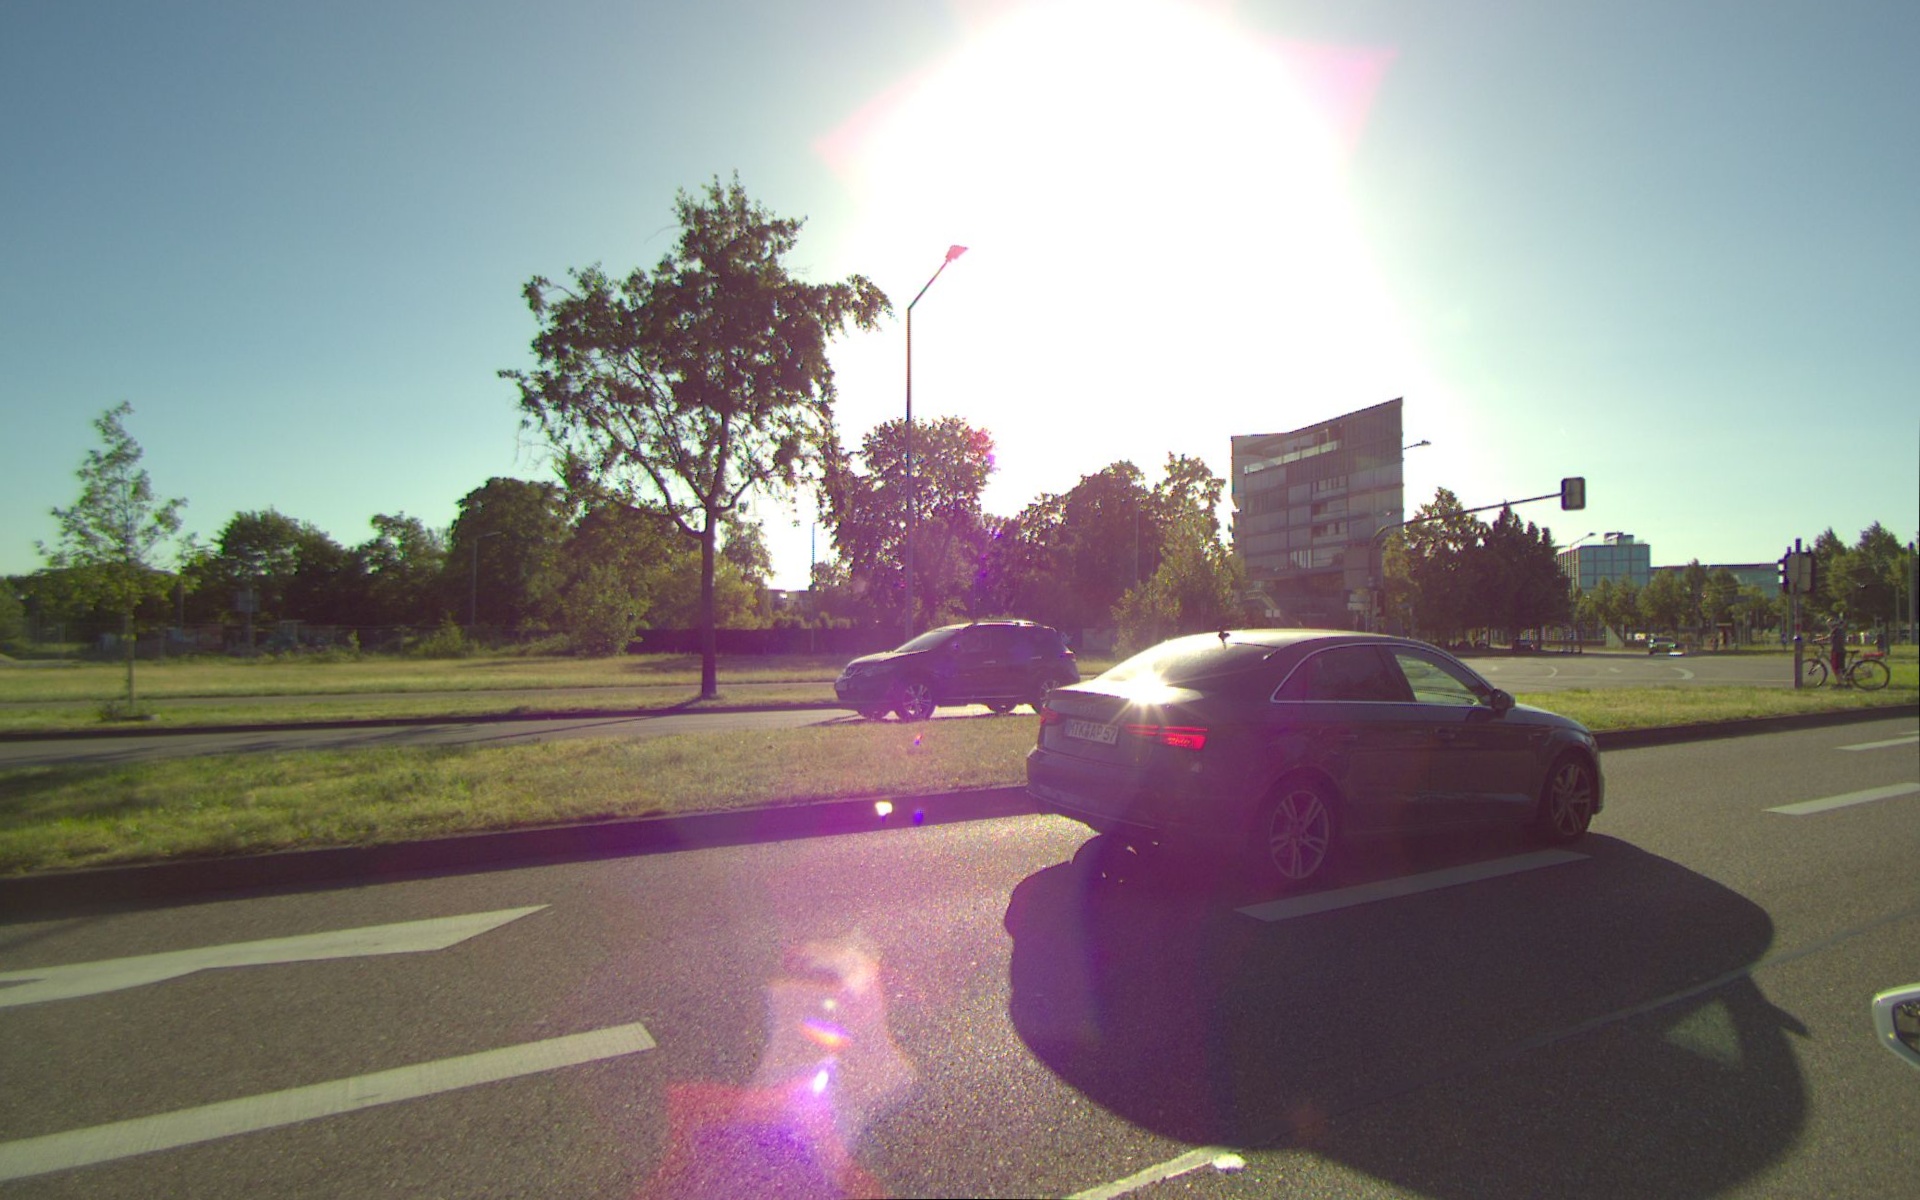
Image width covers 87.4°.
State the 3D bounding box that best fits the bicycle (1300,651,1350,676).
[{"bbox_3d":[13.361,2.306,36.844,0.608,0.864,1.879,0,-2,-23],"label":"bicycle"}]

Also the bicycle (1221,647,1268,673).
[{"bbox_3d":[10.143,2.126,35.752,1.871,0.864,0.611,1,-2,-37],"label":"bicycle"}]

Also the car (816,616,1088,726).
[{"bbox_3d":[-0.078,1.236,18.352,4.689,1.761,1.982,2,-3,-34],"label":"car"}]

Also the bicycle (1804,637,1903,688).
[{"bbox_3d":[20.855,1.442,23.468,0.698,1.143,1.637,2,-2,-38],"label":"bicycle"}]

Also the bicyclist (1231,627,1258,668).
[{"bbox_3d":[10.111,1.681,35.703,0.712,1.411,0.611,1,-2,-37],"label":"bicyclist"}]

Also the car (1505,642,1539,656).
[{"bbox_3d":[74.283,6.466,132.944,2.412,1.808,5.018,0,-2,10],"label":"car"}]

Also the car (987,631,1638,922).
[{"bbox_3d":[2.467,0.927,6.736,4.307,1.398,1.752,1,-2,-30],"label":"car"}]

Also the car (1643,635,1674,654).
[{"bbox_3d":[58.256,3.681,83.796,1.976,1.561,4.313,-2,-2,34],"label":"car"}]

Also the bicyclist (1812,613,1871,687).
[{"bbox_3d":[20.728,1.172,23.624,0.698,1.685,0.932,2,-2,-39],"label":"bicyclist"}]

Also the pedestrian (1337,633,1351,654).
[{"bbox_3d":[31.220,3.522,81.592,0.872,1.651,0.758,-2,-2,40],"label":"pedestrian"}]

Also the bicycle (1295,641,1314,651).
[{"bbox_3d":[33.587,4.500,97.951,0.651,1.001,2.257,0,-2,-13],"label":"bicycle"}]

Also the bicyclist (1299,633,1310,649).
[{"bbox_3d":[33.615,3.978,97.973,0.651,1.601,0.833,0,-2,-13],"label":"bicyclist"}]

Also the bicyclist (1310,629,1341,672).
[{"bbox_3d":[13.382,1.834,36.809,0.608,1.537,0.920,0,-2,-23],"label":"bicyclist"}]

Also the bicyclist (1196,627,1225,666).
[{"bbox_3d":[9.083,1.682,36.408,0.829,1.411,0.611,1,-2,-37],"label":"bicyclist"}]

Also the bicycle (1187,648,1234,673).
[{"bbox_3d":[9.097,2.174,36.386,1.871,0.864,0.611,1,-2,-37],"label":"bicycle"}]

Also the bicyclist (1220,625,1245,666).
[{"bbox_3d":[10.601,1.768,39.080,0.840,1.584,0.430,0,-2,-26],"label":"bicyclist"}]

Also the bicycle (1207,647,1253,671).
[{"bbox_3d":[10.487,2.287,39.006,1.864,0.864,0.488,0,-2,-26],"label":"bicycle"}]
